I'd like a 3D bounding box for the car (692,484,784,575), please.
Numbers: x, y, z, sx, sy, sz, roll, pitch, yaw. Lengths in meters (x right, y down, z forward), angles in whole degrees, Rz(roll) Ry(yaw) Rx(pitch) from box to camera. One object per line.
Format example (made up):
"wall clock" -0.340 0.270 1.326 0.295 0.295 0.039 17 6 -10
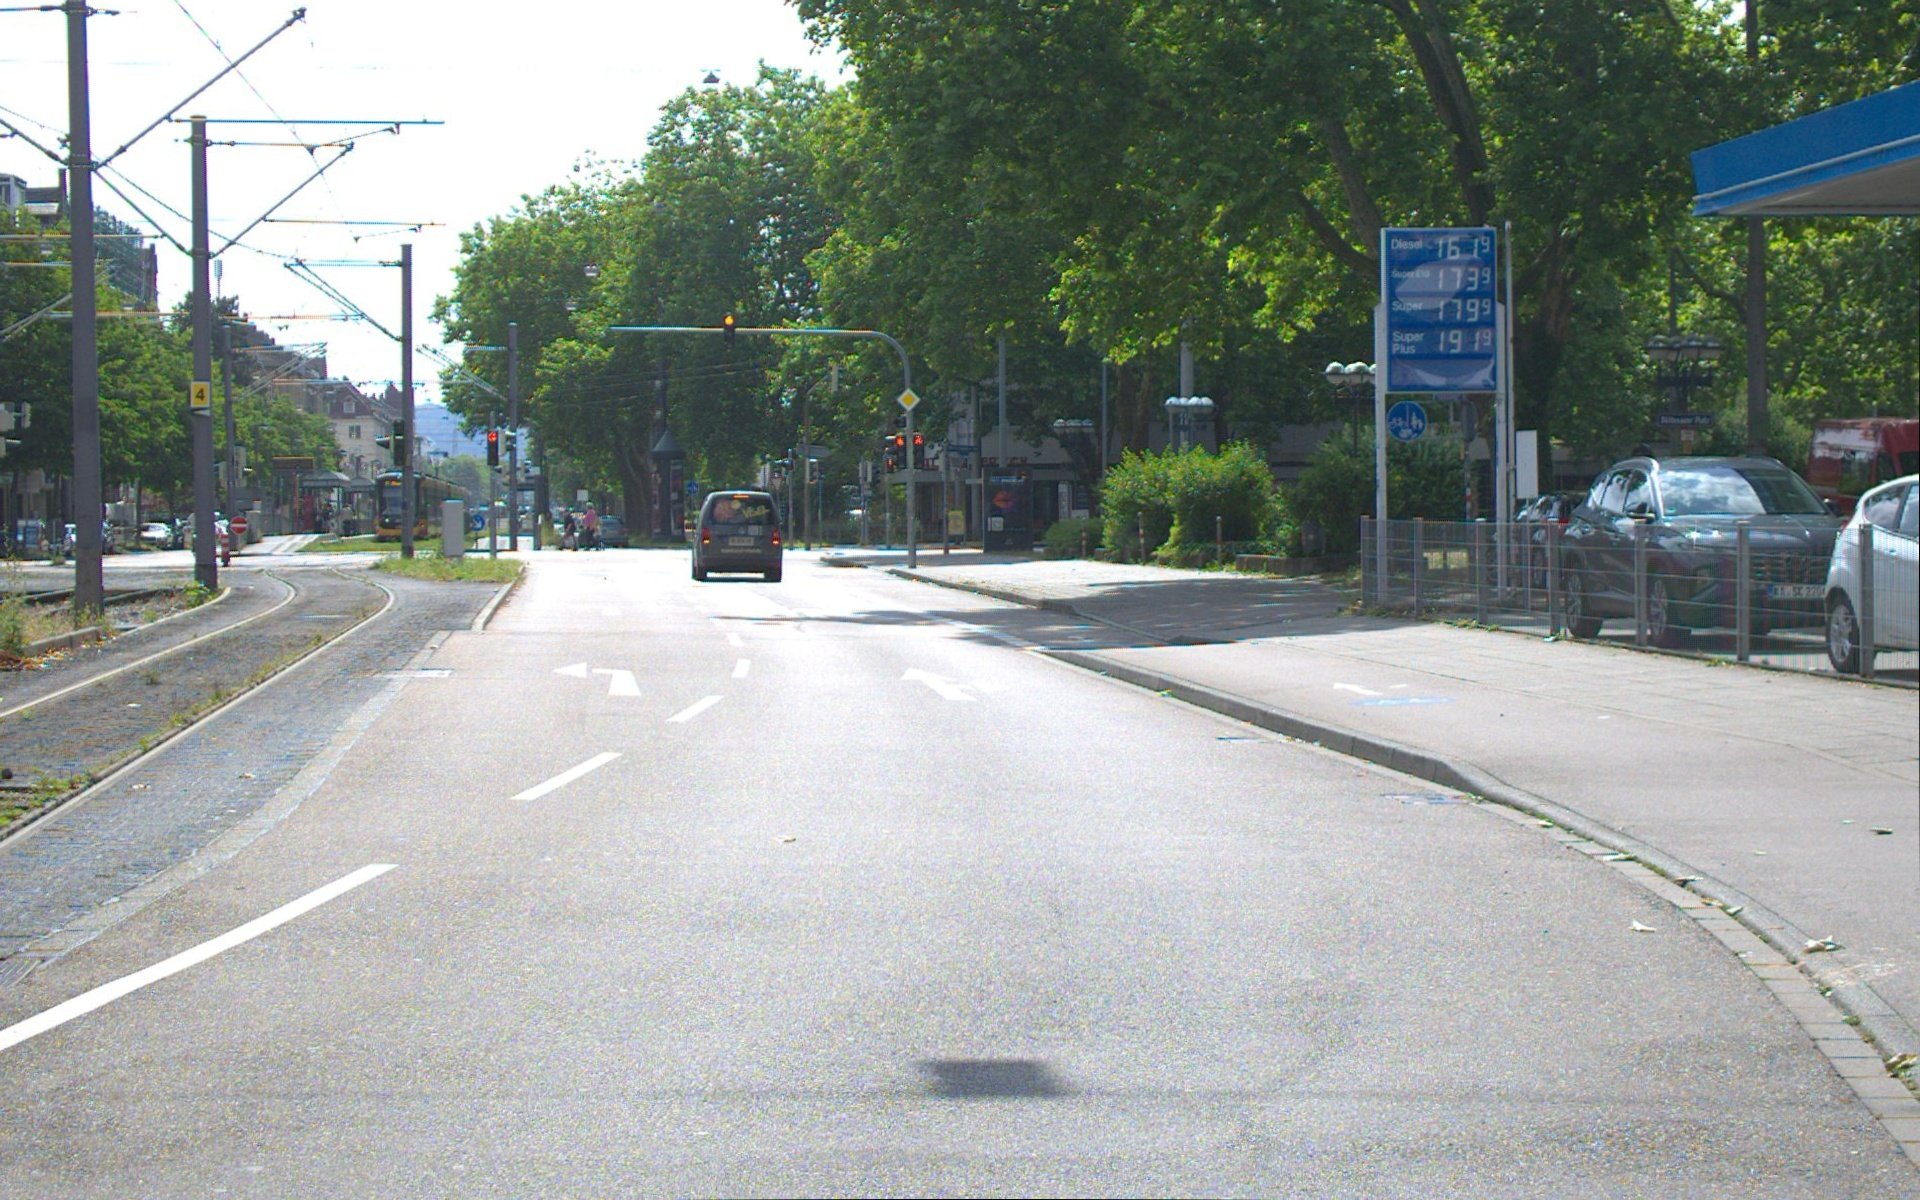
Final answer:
"car" -4.616 -1.468 71.058 1.750 1.802 3.476 1 2 -6

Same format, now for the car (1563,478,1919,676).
"car" 6.754 -0.256 30.003 1.805 1.597 4.584 0 2 -5

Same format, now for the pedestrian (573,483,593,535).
"pedestrian" -13.164 -3.174 120.011 0.659 1.778 0.661 -1 2 -6

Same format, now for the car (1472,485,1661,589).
"car" 8.943 -0.957 50.979 1.648 1.465 4.044 -1 2 -7

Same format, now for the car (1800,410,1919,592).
"car" 14.486 -1.488 51.087 2.111 2.573 6.021 -1 2 -4

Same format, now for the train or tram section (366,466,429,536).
"train or tram section" -27.838 -4.905 170.557 2.240 3.320 12.974 -1 2 -6

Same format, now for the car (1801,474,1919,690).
"car" 7.310 -0.130 23.361 1.805 1.450 4.002 0 2 -7

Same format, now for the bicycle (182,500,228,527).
"bicycle" -30.014 -3.426 136.716 0.894 1.045 2.308 0 2 12

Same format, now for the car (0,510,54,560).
"car" -39.275 -2.729 143.942 1.993 2.006 4.001 -1 2 -6

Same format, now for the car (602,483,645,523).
"car" -15.218 -4.402 155.408 1.862 1.746 4.001 -1 2 -6

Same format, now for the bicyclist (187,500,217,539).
"bicyclist" -30.112 -3.202 136.550 0.778 1.506 1.000 0 2 12
